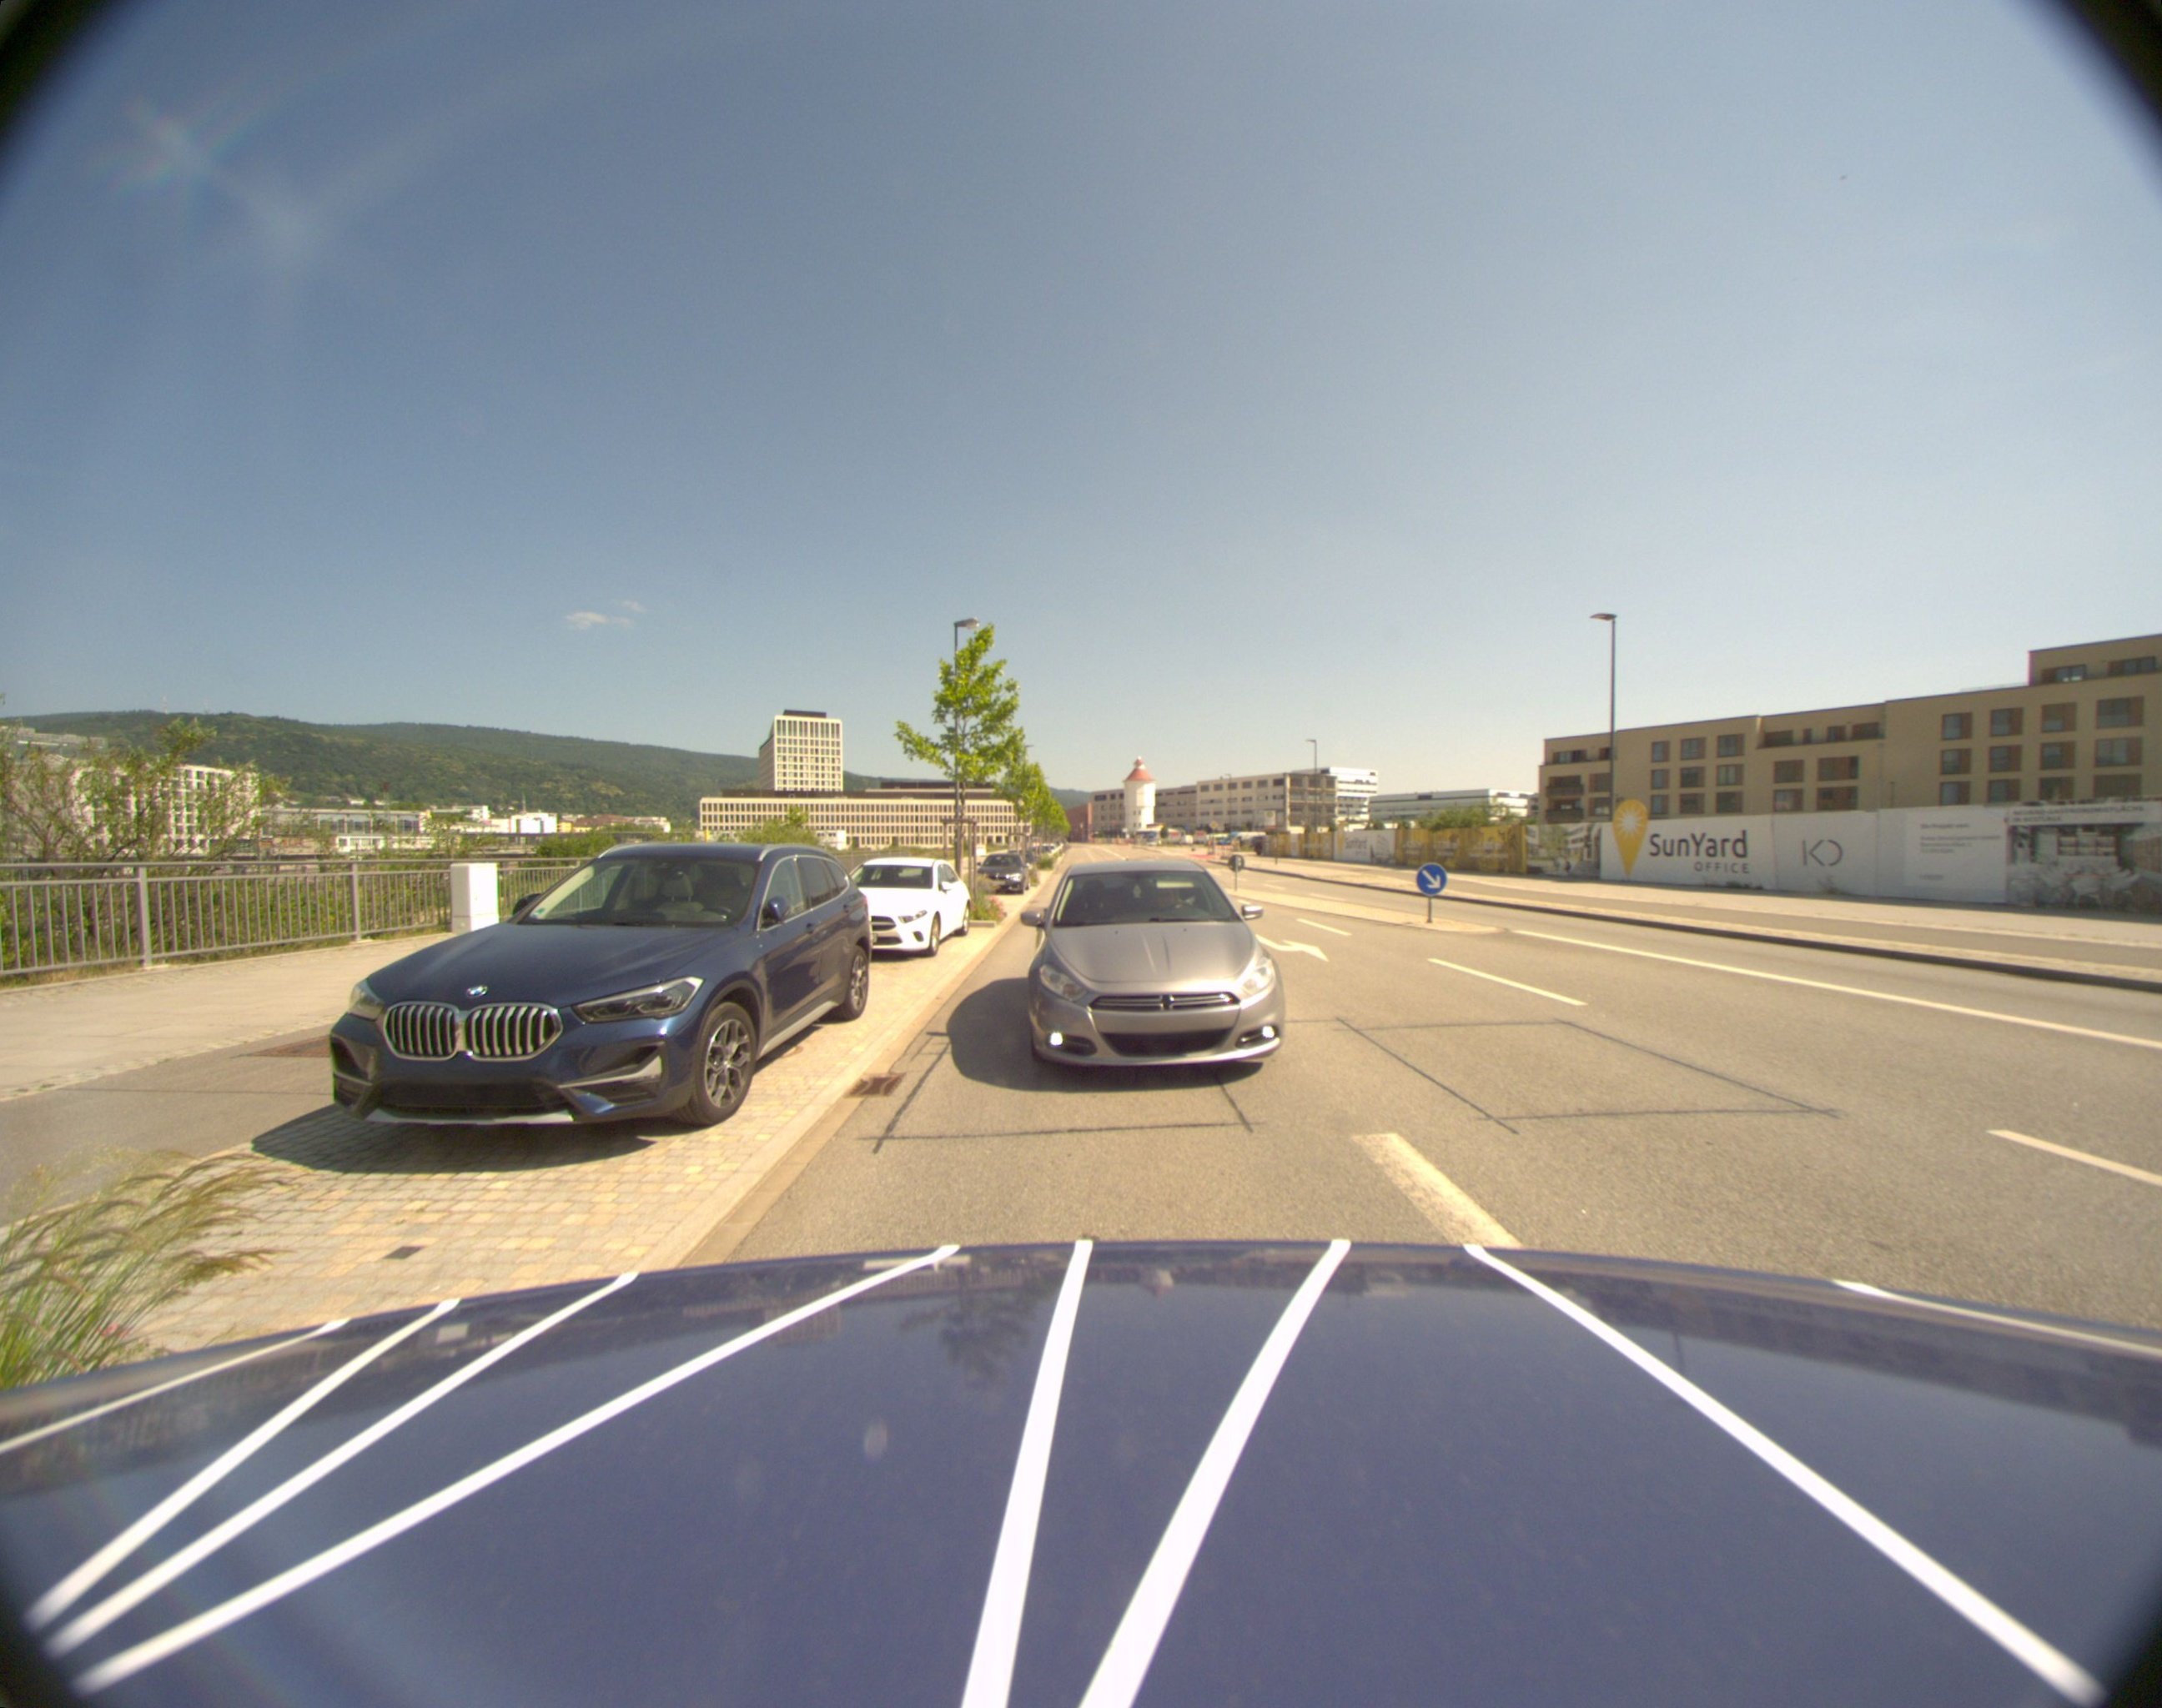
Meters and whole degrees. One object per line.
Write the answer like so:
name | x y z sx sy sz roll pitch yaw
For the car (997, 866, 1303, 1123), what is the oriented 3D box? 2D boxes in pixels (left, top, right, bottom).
car | 0.443 0.878 6.618 1.784 1.372 4.135 -2 1 1

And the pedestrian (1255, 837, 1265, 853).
pedestrian | 18.329 -0.948 77.628 0.705 1.577 0.617 -3 1 -36

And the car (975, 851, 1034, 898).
car | -2.732 0.691 27.972 1.664 1.529 3.999 -2 1 1

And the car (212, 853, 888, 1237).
car | -2.876 0.844 5.466 1.769 1.598 4.238 -2 1 1

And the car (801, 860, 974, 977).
car | -2.908 0.896 12.304 1.664 1.447 3.999 -2 1 1
